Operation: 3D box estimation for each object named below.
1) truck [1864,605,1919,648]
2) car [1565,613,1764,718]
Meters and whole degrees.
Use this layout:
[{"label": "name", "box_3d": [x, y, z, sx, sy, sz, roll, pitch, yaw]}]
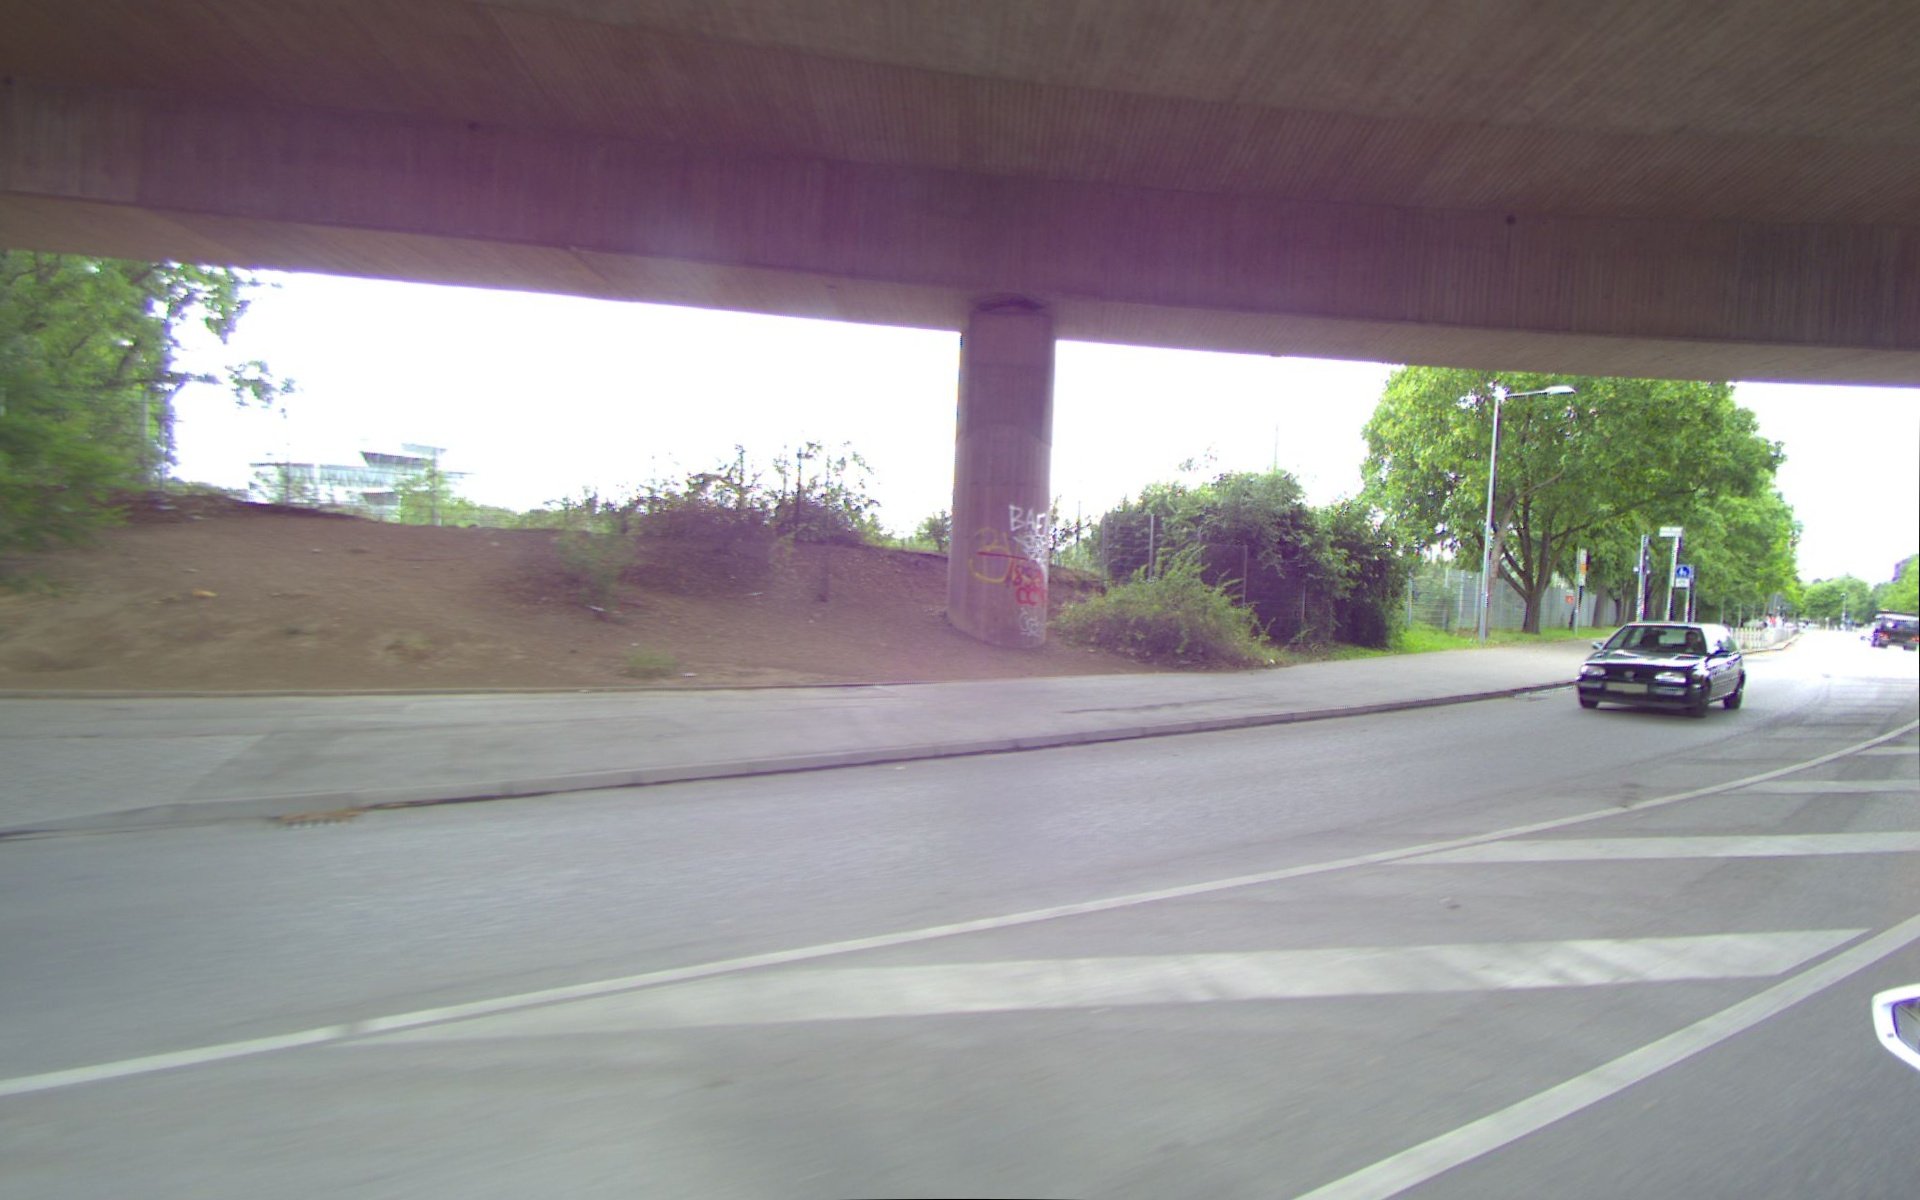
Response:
[{"label": "truck", "box_3d": [81.179, 2.339, 87.578, 2.638, 3.605, 7.897, 0, -2, 36]}, {"label": "car", "box_3d": [11.649, 1.000, 16.533, 3.967, 1.450, 1.662, 2, 1, -40]}]
